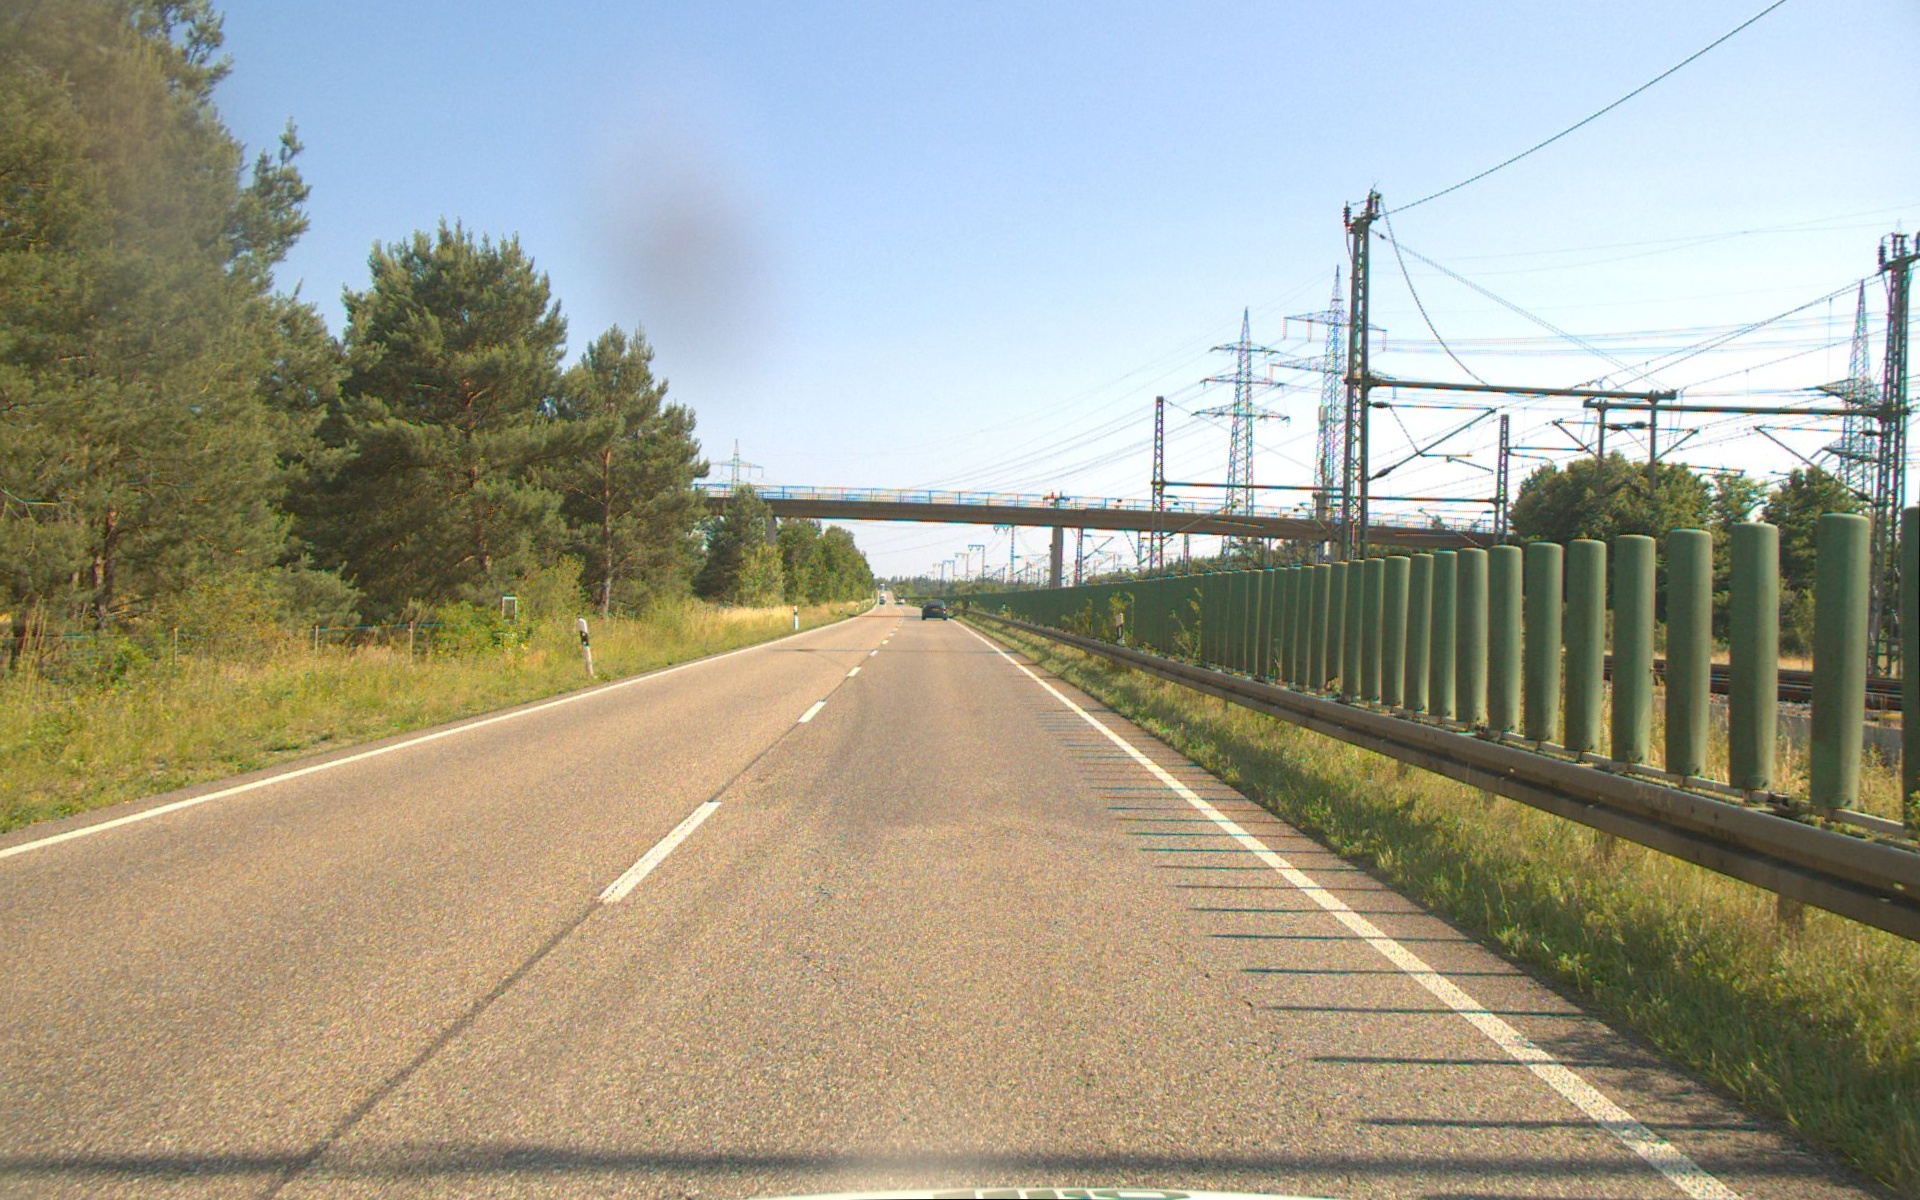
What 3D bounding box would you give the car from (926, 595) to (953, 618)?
[{"bbox_3d":[-1.498,0.477,121.024,1.821,1.670,3.998,0,0,-2],"label":"car"}]
